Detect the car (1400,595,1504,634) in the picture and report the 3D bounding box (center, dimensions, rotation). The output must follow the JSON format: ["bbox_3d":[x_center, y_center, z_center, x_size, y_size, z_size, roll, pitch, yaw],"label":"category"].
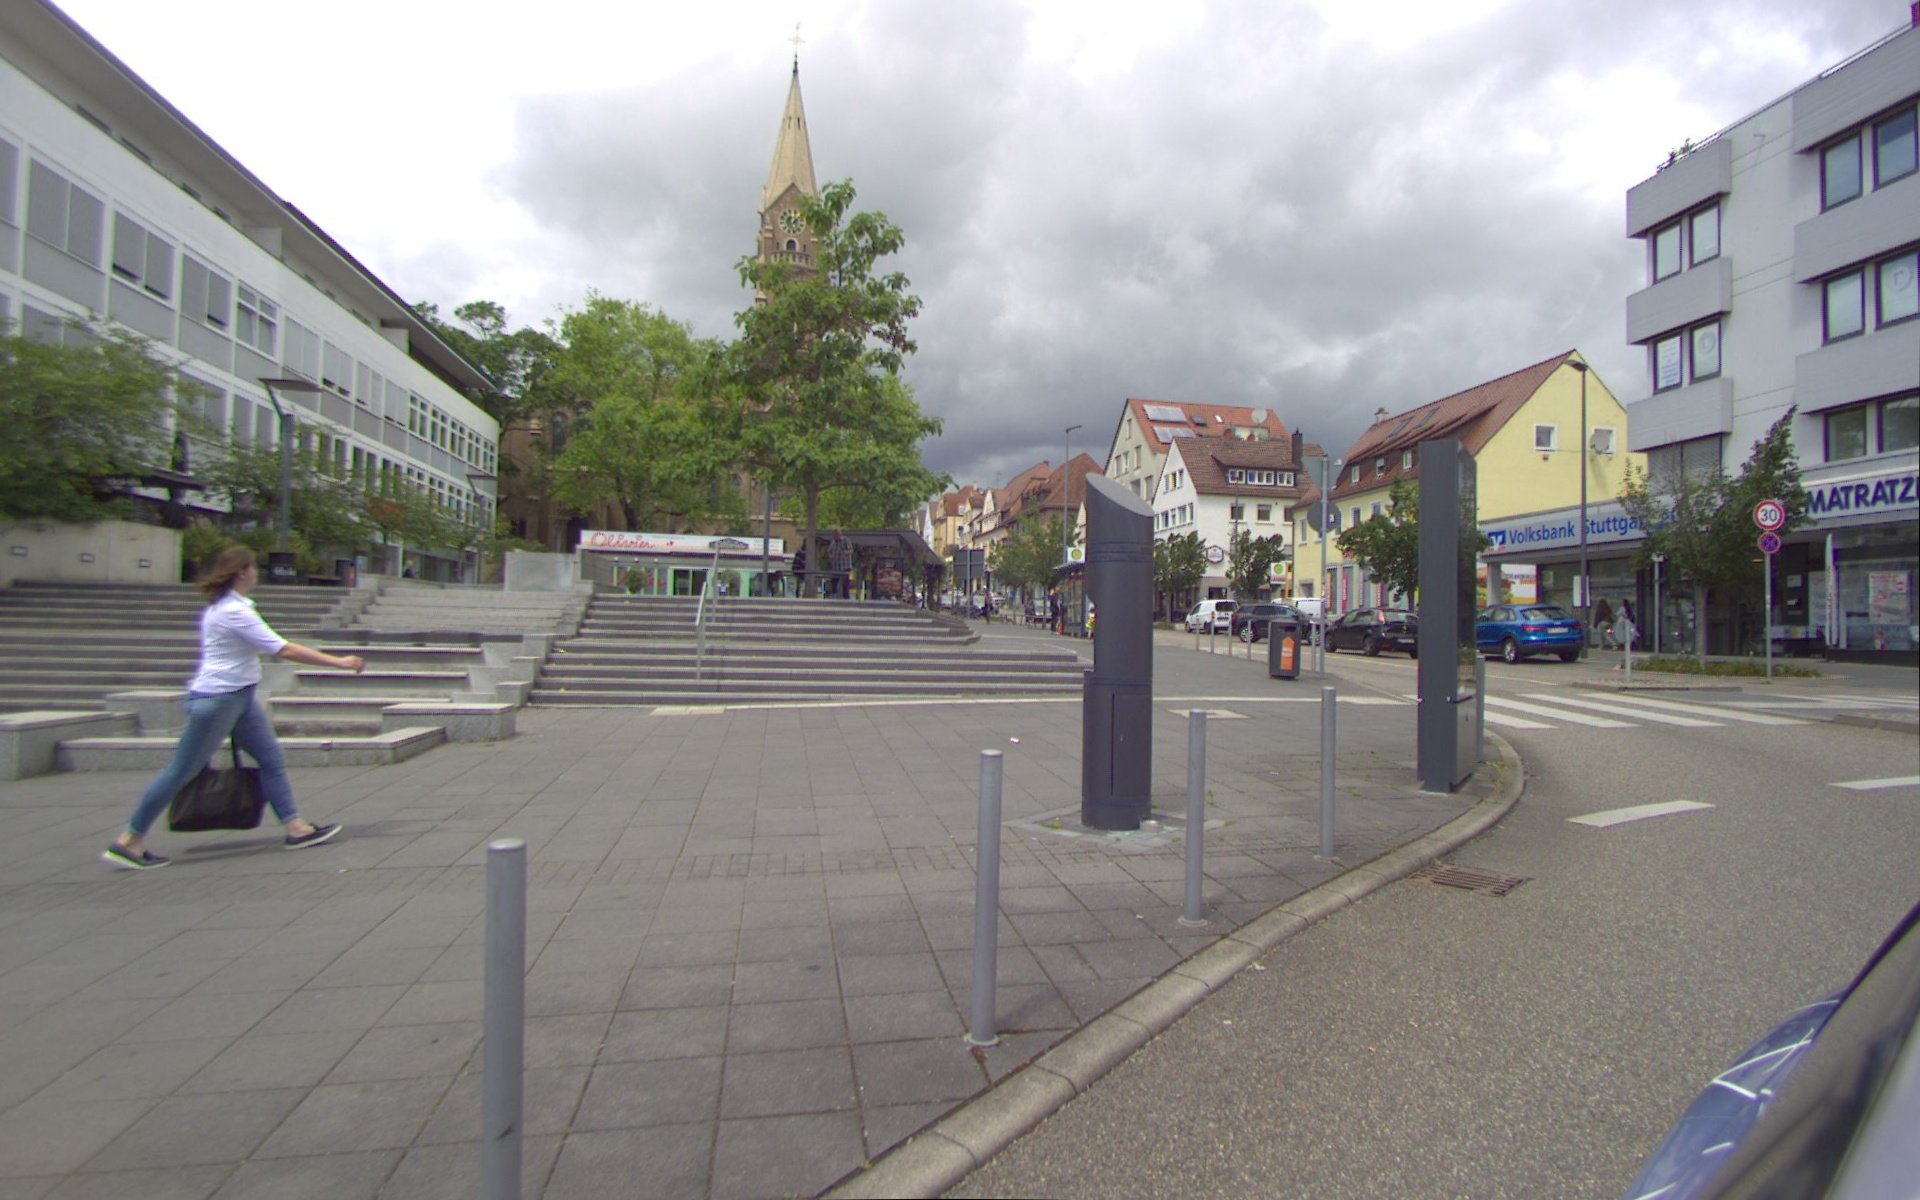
[{"bbox_3d":[20.526,0.581,42.281,3.566,1.578,1.670,0,0,-6],"label":"car"}]

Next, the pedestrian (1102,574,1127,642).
[{"bbox_3d":[4.274,0.231,28.053,0.531,1.846,0.435,3,-1,0],"label":"pedestrian"}]

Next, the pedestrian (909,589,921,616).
[{"bbox_3d":[-2.222,0.132,49.644,0.559,1.279,0.541,1,-3,-1],"label":"pedestrian"}]

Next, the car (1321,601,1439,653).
[{"bbox_3d":[12.758,0.780,31.044,1.670,1.437,4.122,-1,0,-3],"label":"car"}]

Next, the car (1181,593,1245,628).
[{"bbox_3d":[12.901,0.489,51.901,1.628,1.693,4.357,0,0,-9],"label":"car"}]

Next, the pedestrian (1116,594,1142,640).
[{"bbox_3d":[5.060,0.506,30.307,0.425,1.320,0.599,3,0,-38],"label":"pedestrian"}]

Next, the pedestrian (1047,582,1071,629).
[{"bbox_3d":[3.626,0.201,37.070,0.787,1.658,0.685,1,0,9],"label":"pedestrian"}]

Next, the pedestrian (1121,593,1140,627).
[{"bbox_3d":[8.697,0.523,51.728,0.683,1.703,0.704,1,-1,37],"label":"pedestrian"}]

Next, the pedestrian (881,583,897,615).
[{"bbox_3d":[-2.818,-0.030,40.265,0.559,1.243,0.565,0,-1,5],"label":"pedestrian"}]

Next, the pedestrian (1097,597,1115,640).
[{"bbox_3d":[4.147,0.526,28.736,0.386,1.213,0.507,2,-1,20],"label":"pedestrian"}]

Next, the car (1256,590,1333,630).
[{"bbox_3d":[16.158,0.457,49.178,1.726,1.837,4.482,-1,0,-8],"label":"car"}]

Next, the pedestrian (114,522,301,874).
[{"bbox_3d":[-4.108,0.490,5.591,0.761,1.768,0.707,1,-1,-33],"label":"pedestrian"}]

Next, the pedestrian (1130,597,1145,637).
[{"bbox_3d":[5.680,0.543,32.356,0.398,1.242,0.386,1,-1,17],"label":"pedestrian"}]

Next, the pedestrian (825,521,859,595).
[{"bbox_3d":[-2.475,-0.871,21.239,0.495,1.528,0.453,2,-2,-41],"label":"pedestrian"}]

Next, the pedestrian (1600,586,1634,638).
[{"bbox_3d":[20.221,0.364,31.158,0.632,1.586,0.587,2,-1,-4],"label":"pedestrian"}]

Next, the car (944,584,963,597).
[{"bbox_3d":[-0.836,-1.239,128.593,1.697,1.449,3.511,1,2,-11],"label":"car"}]

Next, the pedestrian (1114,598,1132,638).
[{"bbox_3d":[4.995,0.552,30.937,0.329,1.181,0.351,3,0,-36],"label":"pedestrian"}]

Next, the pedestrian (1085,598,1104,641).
[{"bbox_3d":[3.737,0.527,28.113,0.432,1.163,0.383,2,-1,2],"label":"pedestrian"}]

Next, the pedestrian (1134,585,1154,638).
[{"bbox_3d":[5.779,0.357,31.793,0.386,1.640,0.462,2,-1,39],"label":"pedestrian"}]

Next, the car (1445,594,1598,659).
[{"bbox_3d":[15.631,0.683,28.464,1.667,1.620,4.334,-2,0,-3],"label":"car"}]

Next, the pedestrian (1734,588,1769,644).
[{"bbox_3d":[24.661,0.505,31.537,0.631,1.727,0.587,2,-3,-15],"label":"pedestrian"}]

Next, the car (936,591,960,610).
[{"bbox_3d":[-1.089,0.037,89.491,1.491,1.449,3.511,1,2,-11],"label":"car"}]

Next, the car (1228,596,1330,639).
[{"bbox_3d":[12.768,0.661,40.458,3.697,1.543,1.880,1,2,25],"label":"car"}]

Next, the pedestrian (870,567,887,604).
[{"bbox_3d":[-2.996,-0.516,37.154,0.559,1.340,0.545,0,-1,5],"label":"pedestrian"}]

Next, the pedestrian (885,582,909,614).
[{"bbox_3d":[-2.550,-0.093,41.141,0.763,1.285,0.670,0,-1,25],"label":"pedestrian"}]

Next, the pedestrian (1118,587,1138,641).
[{"bbox_3d":[4.867,0.404,29.310,0.382,1.536,0.390,3,-1,-14],"label":"pedestrian"}]

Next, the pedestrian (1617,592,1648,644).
[{"bbox_3d":[20.880,0.562,31.423,0.501,1.586,0.587,2,-1,-4],"label":"pedestrian"}]

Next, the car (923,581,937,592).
[{"bbox_3d":[-4.542,-1.993,153.627,1.656,1.543,3.537,1,2,-11],"label":"car"}]

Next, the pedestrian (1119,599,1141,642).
[{"bbox_3d":[4.810,0.564,28.648,0.467,1.187,0.391,3,-1,-6],"label":"pedestrian"}]

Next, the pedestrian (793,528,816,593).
[{"bbox_3d":[-3.200,-0.804,20.849,0.357,1.302,0.641,1,-1,0],"label":"pedestrian"}]

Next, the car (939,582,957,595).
[{"bbox_3d":[-1.667,-1.579,136.181,1.697,1.700,4.000,1,2,-11],"label":"car"}]

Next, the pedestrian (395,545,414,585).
[{"bbox_3d":[-18.930,-1.172,34.490,0.558,1.340,0.546,1,-1,-31],"label":"pedestrian"}]
